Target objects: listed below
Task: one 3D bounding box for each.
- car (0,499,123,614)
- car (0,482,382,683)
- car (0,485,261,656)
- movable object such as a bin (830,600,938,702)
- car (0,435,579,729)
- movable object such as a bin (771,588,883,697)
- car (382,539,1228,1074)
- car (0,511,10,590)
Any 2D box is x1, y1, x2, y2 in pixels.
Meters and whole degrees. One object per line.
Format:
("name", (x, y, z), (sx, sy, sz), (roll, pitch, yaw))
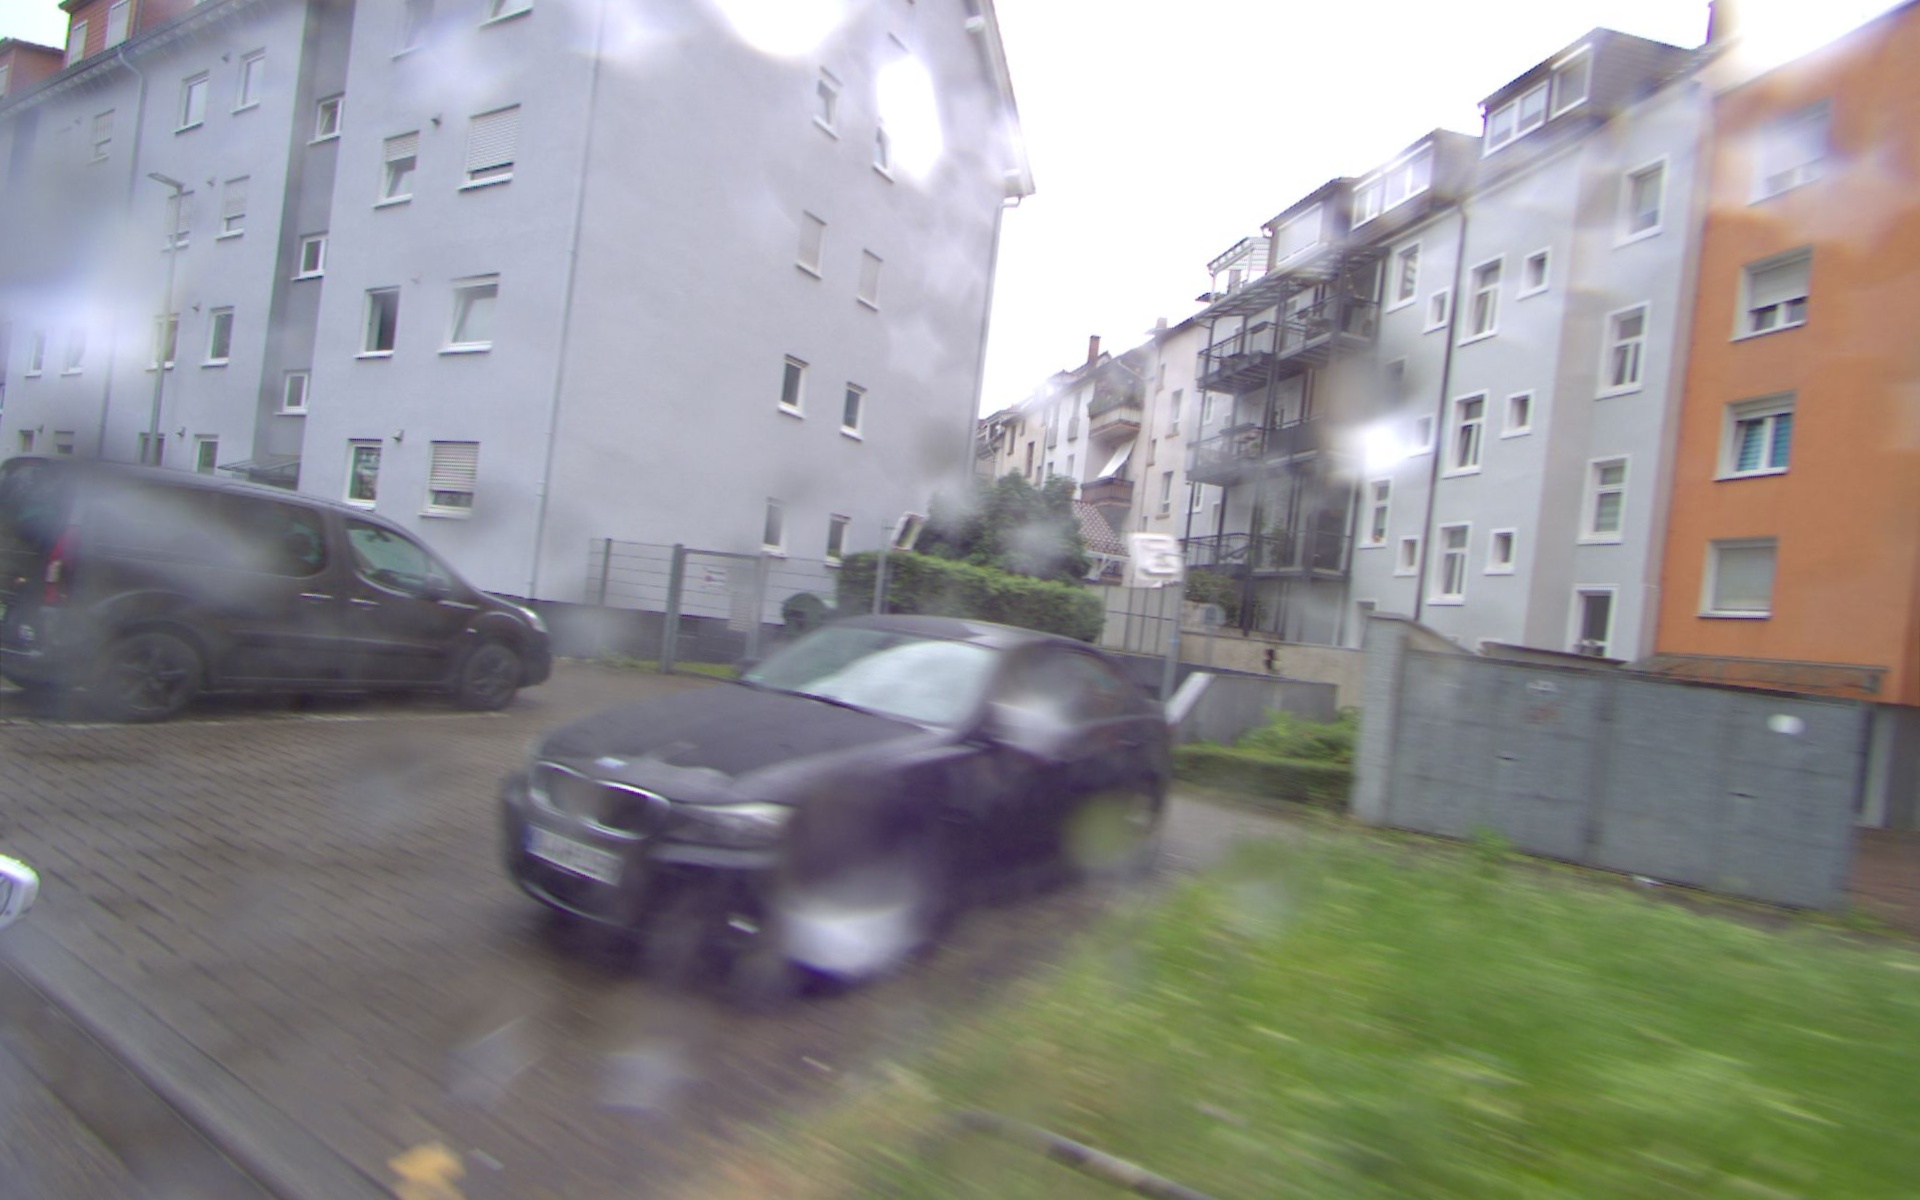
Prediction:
("car", (-14.236, -0.791, 13.720), (1.805, 1.471, 3.863), (7, -2, 29))
("car", (-8.111, -0.161, 9.442), (1.857, 1.587, 4.198), (6, -2, 30))
("car", (-10.319, -0.418, 10.731), (1.858, 1.589, 4.191), (6, -2, 30))
("movable object such as a bin", (-1.159, 0.796, 15.488), (0.940, 1.394, 1.216), (7, -1, 39))
("car", (-5.697, -0.050, 8.575), (1.911, 1.827, 4.241), (6, -1, 28))
("movable object such as a bin", (-1.891, 0.623, 14.400), (0.810, 1.394, 1.235), (7, -1, 38))
("car", (-0.241, 0.766, 5.442), (1.950, 1.487, 4.540), (6, -1, 31))
("car", (-16.737, -1.031, 14.629), (1.924, 1.221, 3.859), (7, -2, 33))
